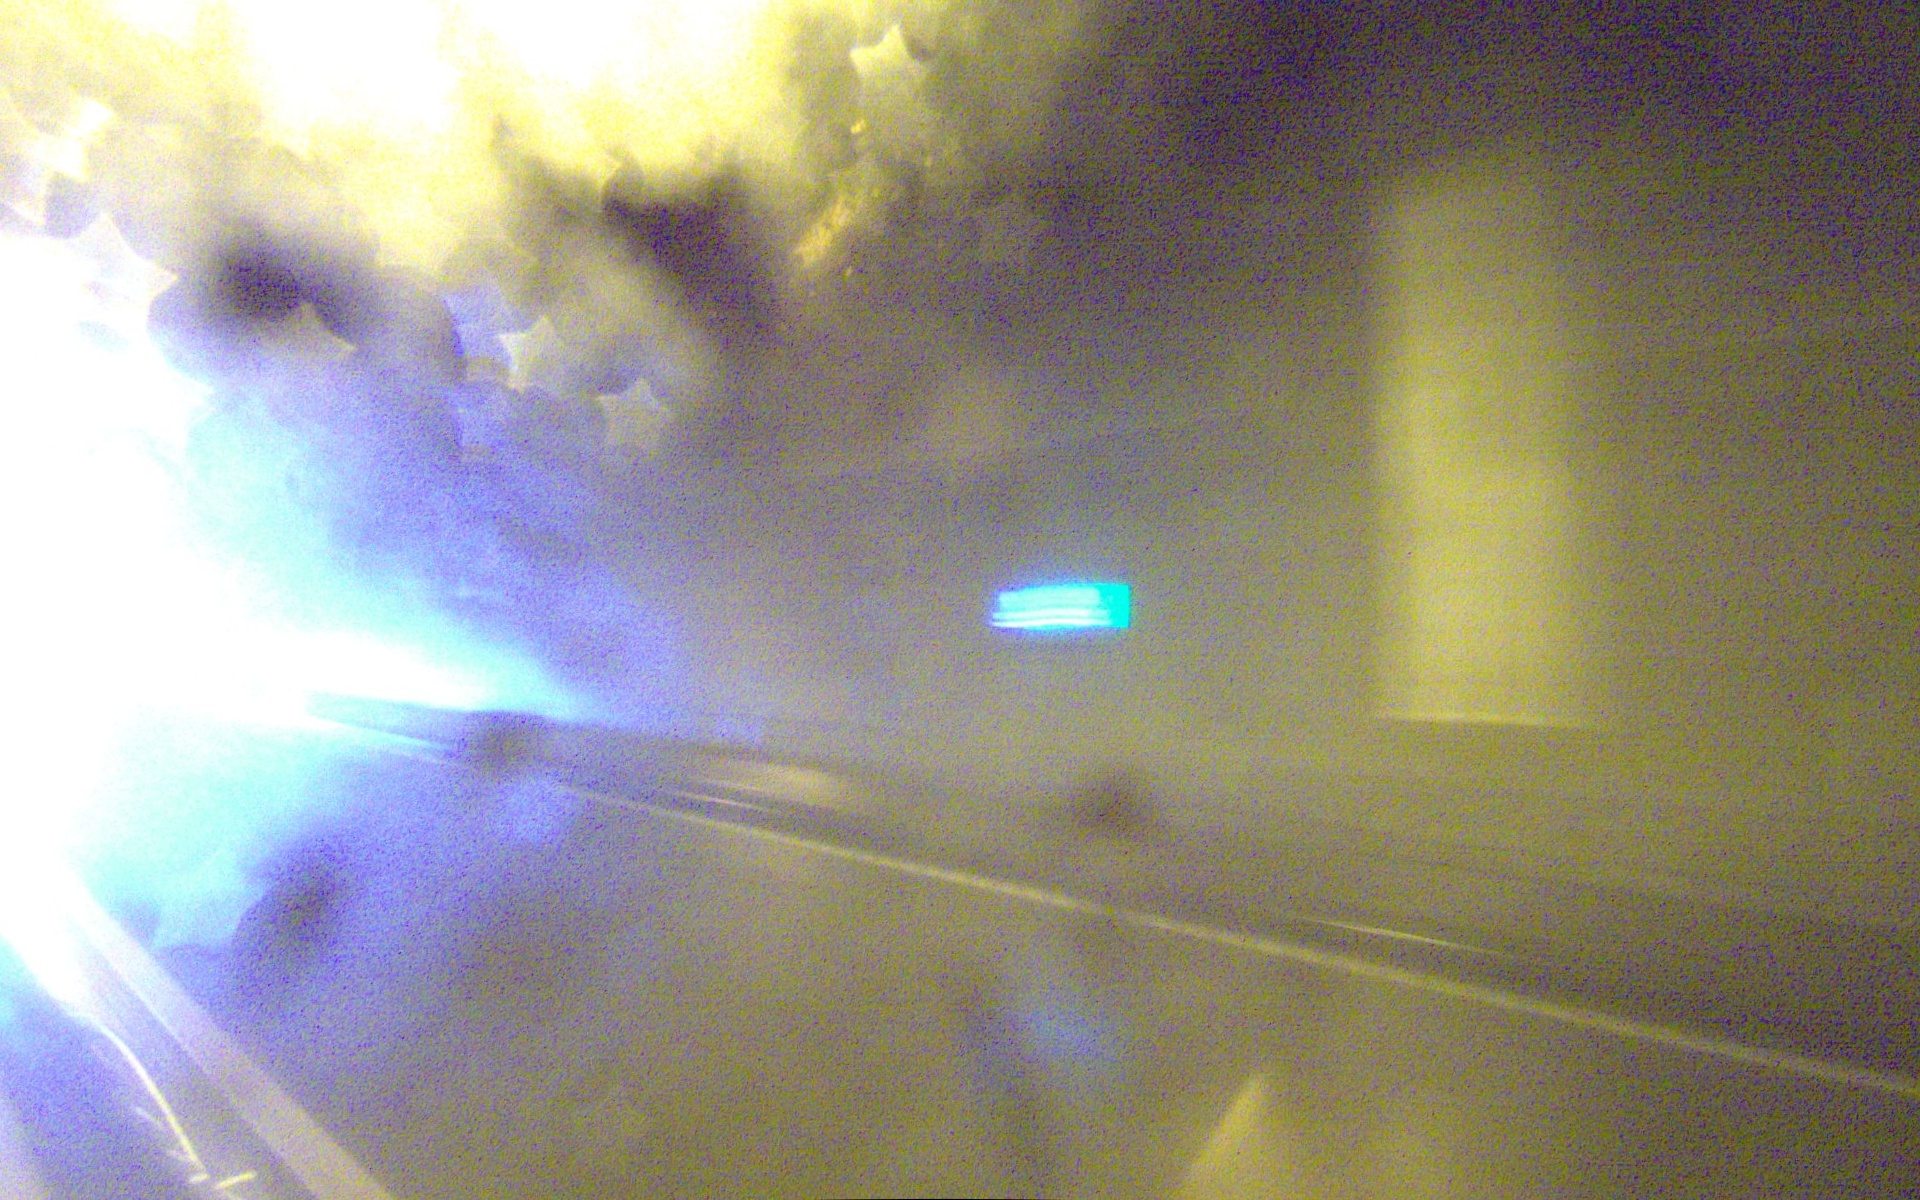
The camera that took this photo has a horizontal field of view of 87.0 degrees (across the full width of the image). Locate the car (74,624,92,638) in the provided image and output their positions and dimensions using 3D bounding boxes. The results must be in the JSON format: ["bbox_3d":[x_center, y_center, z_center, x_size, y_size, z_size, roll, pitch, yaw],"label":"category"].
[{"bbox_3d":[-107.567,3.773,124.066,1.611,1.662,3.780,0,-1,-42],"label":"car"}]
